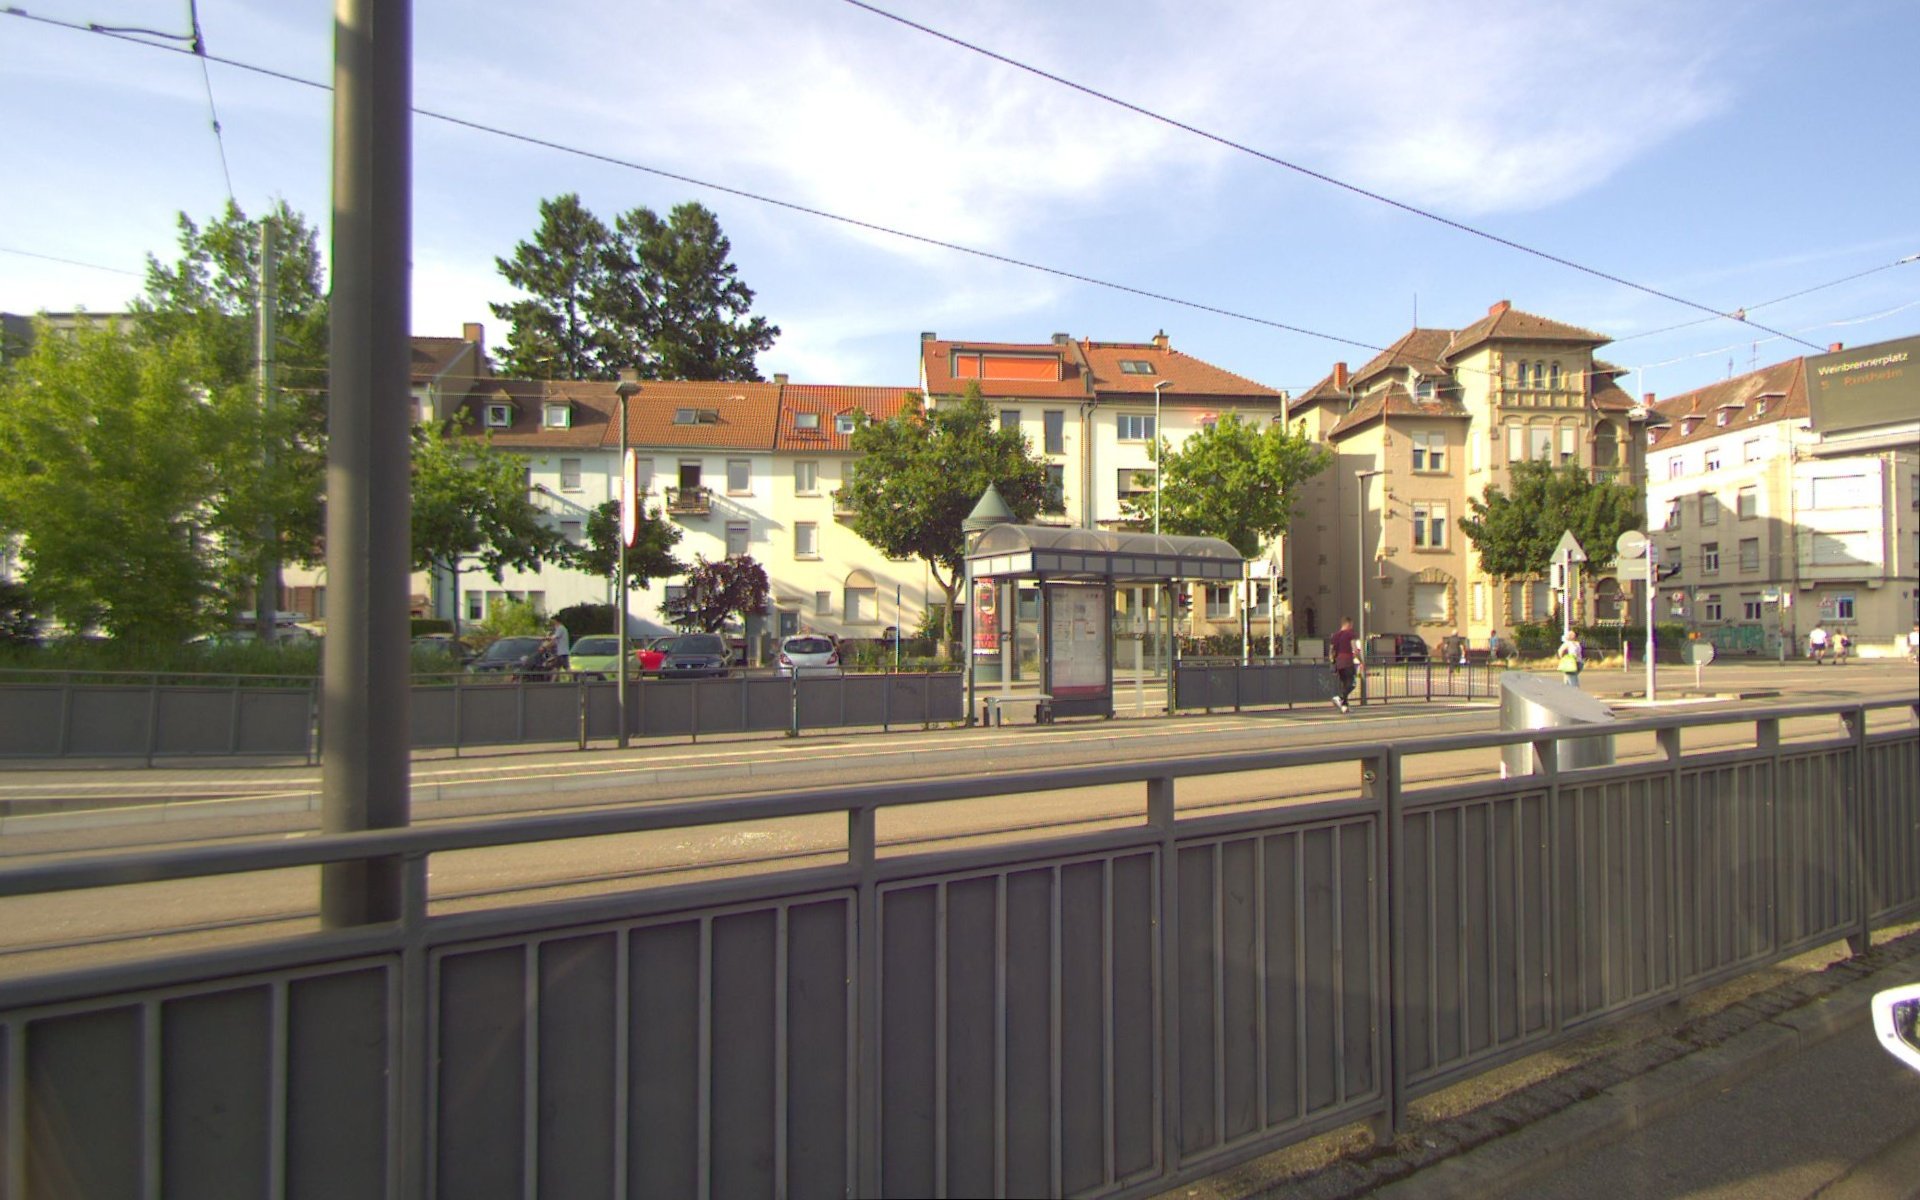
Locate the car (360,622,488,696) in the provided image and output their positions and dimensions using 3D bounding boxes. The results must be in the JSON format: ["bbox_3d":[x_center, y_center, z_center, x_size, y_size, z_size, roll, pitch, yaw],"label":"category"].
[{"bbox_3d":[-13.884,1.499,26.288,1.822,1.777,3.993,0,-2,-11],"label":"car"}]

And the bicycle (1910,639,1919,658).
[{"bbox_3d":[51.980,2.576,53.467,0.736,1.019,1.974,1,-2,-40],"label":"bicycle"}]

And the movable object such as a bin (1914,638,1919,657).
[{"bbox_3d":[47.561,2.338,49.543,0.655,0.959,0.580,1,-2,-31],"label":"movable object such as a bin"}]

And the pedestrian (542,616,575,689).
[{"bbox_3d":[-9.328,1.217,23.323,0.663,1.677,0.369,1,-2,-28],"label":"pedestrian"}]

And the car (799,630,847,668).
[{"bbox_3d":[-6.014,2.132,44.406,1.821,1.578,3.998,0,-2,-4],"label":"car"}]

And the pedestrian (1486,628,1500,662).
[{"bbox_3d":[23.652,1.995,44.550,0.382,1.535,0.405,0,-2,-3],"label":"pedestrian"}]

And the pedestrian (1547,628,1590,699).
[{"bbox_3d":[13.982,1.449,23.068,0.708,1.610,0.586,1,-2,-34],"label":"pedestrian"}]

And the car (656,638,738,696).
[{"bbox_3d":[-7.067,1.758,27.342,1.740,1.447,3.995,0,-2,-9],"label":"car"}]

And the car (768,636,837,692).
[{"bbox_3d":[-4.370,1.724,27.970,1.740,1.447,3.995,0,-2,-9],"label":"car"}]

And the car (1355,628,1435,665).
[{"bbox_3d":[20.310,2.143,47.104,1.742,1.653,3.998,0,-2,-5],"label":"car"}]

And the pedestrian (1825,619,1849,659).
[{"bbox_3d":[41.891,1.860,47.994,0.642,1.872,0.670,1,-2,-32],"label":"pedestrian"}]

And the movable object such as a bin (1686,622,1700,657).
[{"bbox_3d":[36.824,1.970,50.466,0.259,1.732,2.379,-1,-2,29],"label":"movable object such as a bin"}]

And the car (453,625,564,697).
[{"bbox_3d":[-11.972,1.581,26.907,1.822,1.777,3.993,0,-2,-11],"label":"car"}]

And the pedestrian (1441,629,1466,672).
[{"bbox_3d":[19.537,2.001,39.764,0.592,1.673,0.681,0,-1,-3],"label":"pedestrian"}]

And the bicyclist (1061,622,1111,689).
[{"bbox_3d":[3.231,1.401,25.809,1.059,1.646,0.701,0,1,-30],"label":"bicyclist"}]

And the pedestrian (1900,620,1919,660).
[{"bbox_3d":[46.691,1.957,49.309,0.619,1.905,0.582,0,-2,-27],"label":"pedestrian"}]

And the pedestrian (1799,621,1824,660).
[{"bbox_3d":[41.405,1.959,48.819,0.616,1.905,0.659,0,-2,-15],"label":"pedestrian"}]

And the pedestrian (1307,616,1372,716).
[{"bbox_3d":[6.589,1.129,17.448,0.874,1.692,0.666,1,-2,-33],"label":"pedestrian"}]

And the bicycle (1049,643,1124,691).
[{"bbox_3d":[3.257,1.702,25.834,1.842,1.125,0.722,1,1,-30],"label":"bicycle"}]

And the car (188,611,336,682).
[{"bbox_3d":[-18.961,1.249,27.526,1.822,1.777,3.993,0,-2,-11],"label":"car"}]

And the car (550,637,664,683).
[{"bbox_3d":[-12.182,2.060,34.861,3.444,1.544,1.567,0,-2,-7],"label":"car"}]

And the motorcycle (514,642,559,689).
[{"bbox_3d":[-9.735,1.496,23.106,0.909,1.065,0.497,1,-2,-28],"label":"motorcycle"}]

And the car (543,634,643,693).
[{"bbox_3d":[-9.729,1.640,26.935,1.740,1.447,3.995,0,-2,-9],"label":"car"}]
